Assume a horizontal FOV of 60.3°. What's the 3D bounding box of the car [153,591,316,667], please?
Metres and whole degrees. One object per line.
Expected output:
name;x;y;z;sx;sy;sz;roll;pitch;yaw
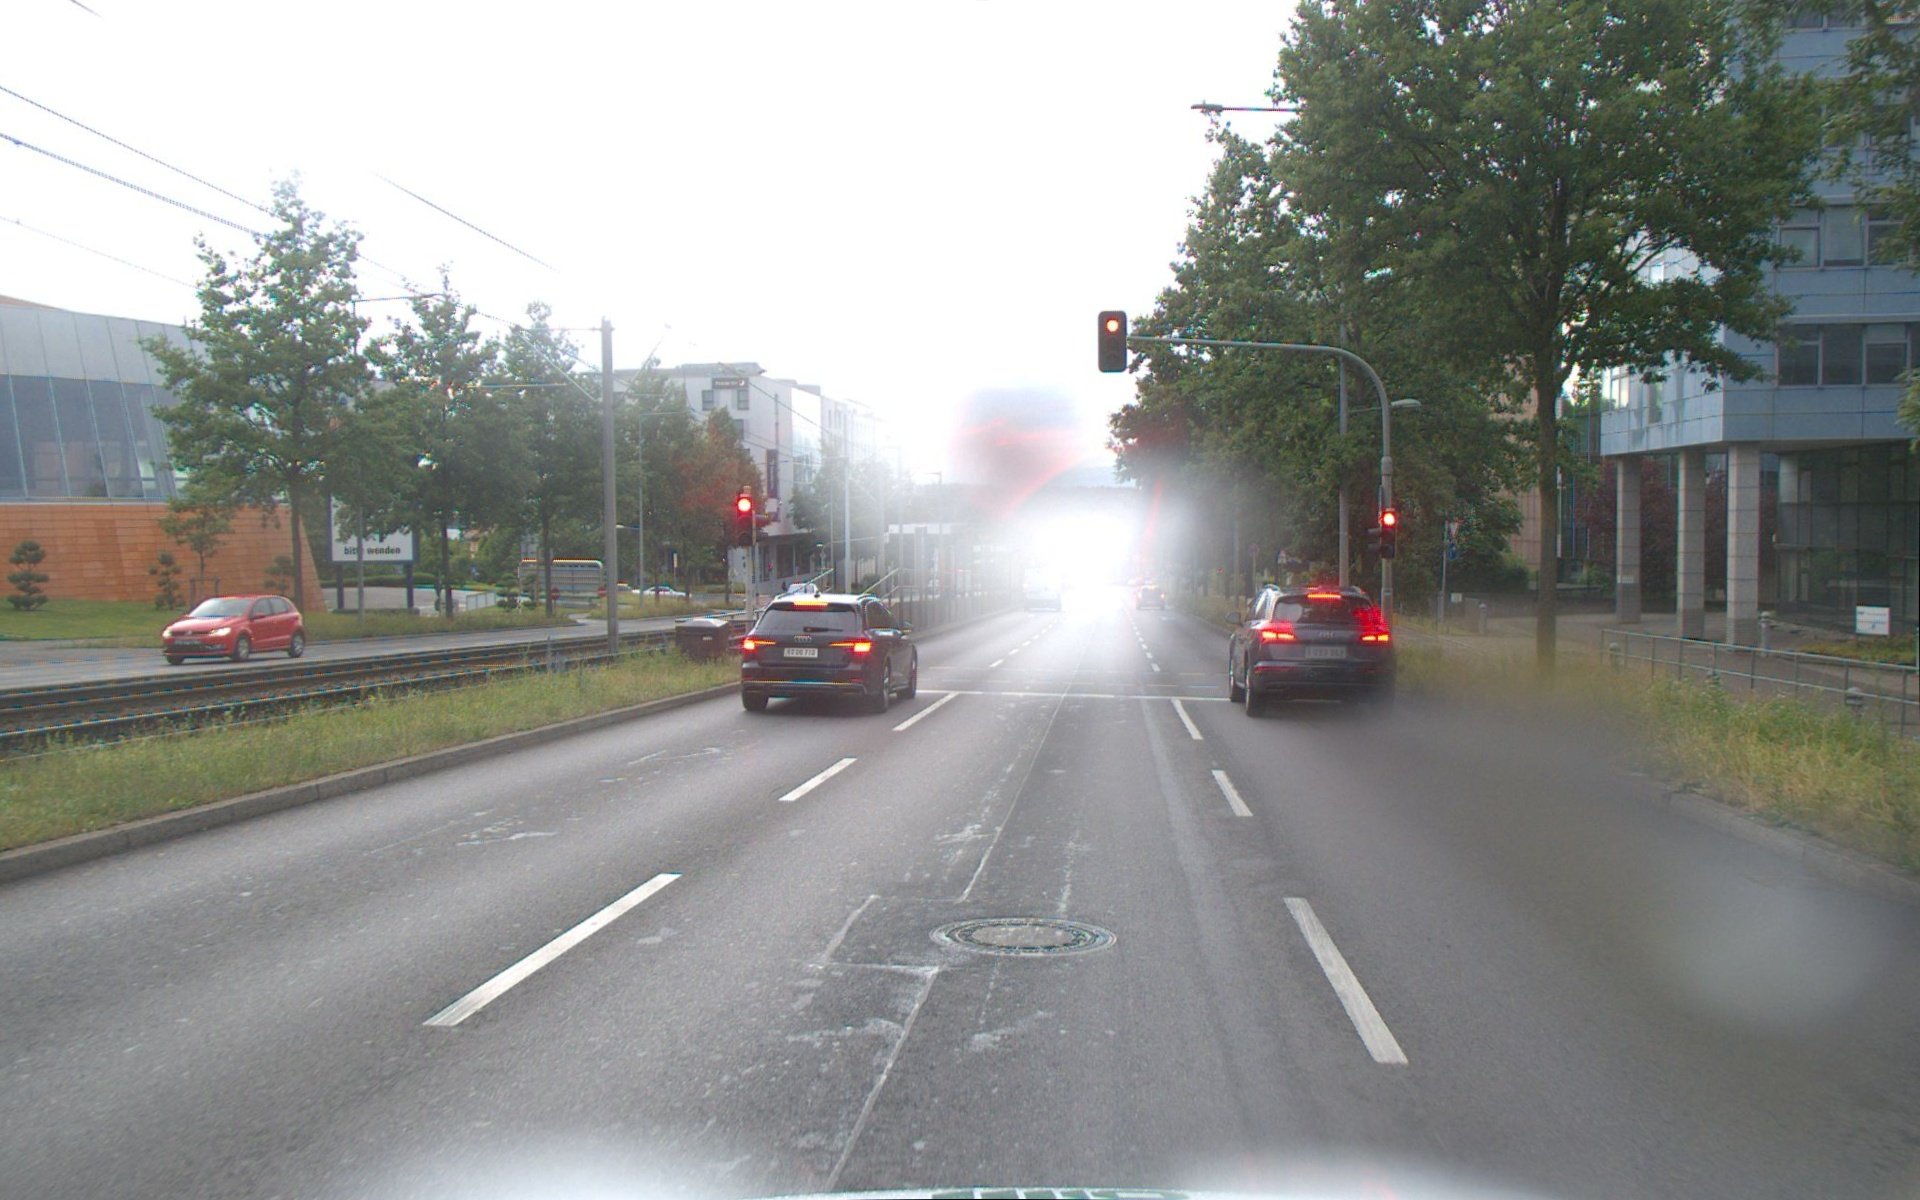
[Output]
car;-15.945;0.586;36.575;1.551;1.539;4.104;-2;0;3

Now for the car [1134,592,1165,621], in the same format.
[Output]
car;11.646;0.384;101.802;1.737;1.720;3.848;1;0;5

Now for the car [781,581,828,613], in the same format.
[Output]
car;-8.819;-0.189;94.317;1.952;1.749;4.843;-1;0;3

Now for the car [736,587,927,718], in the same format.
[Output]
car;-1.540;0.591;21.429;1.743;1.492;4.516;1;0;5

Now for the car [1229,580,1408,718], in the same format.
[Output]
car;4.700;0.574;22.243;1.779;1.641;4.473;1;0;5

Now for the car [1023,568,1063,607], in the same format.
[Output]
car;4.625;-0.680;91.666;2.049;2.089;4.609;1;0;4

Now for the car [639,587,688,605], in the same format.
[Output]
car;-25.456;-0.367;142.013;3.786;1.461;1.656;-2;0;2

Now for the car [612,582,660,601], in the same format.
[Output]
car;-28.380;-0.741;144.808;4.014;1.461;1.652;-2;0;-10

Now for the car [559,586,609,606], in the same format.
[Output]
car;-27.520;-0.301;121.064;3.300;1.411;1.433;1;1;22
